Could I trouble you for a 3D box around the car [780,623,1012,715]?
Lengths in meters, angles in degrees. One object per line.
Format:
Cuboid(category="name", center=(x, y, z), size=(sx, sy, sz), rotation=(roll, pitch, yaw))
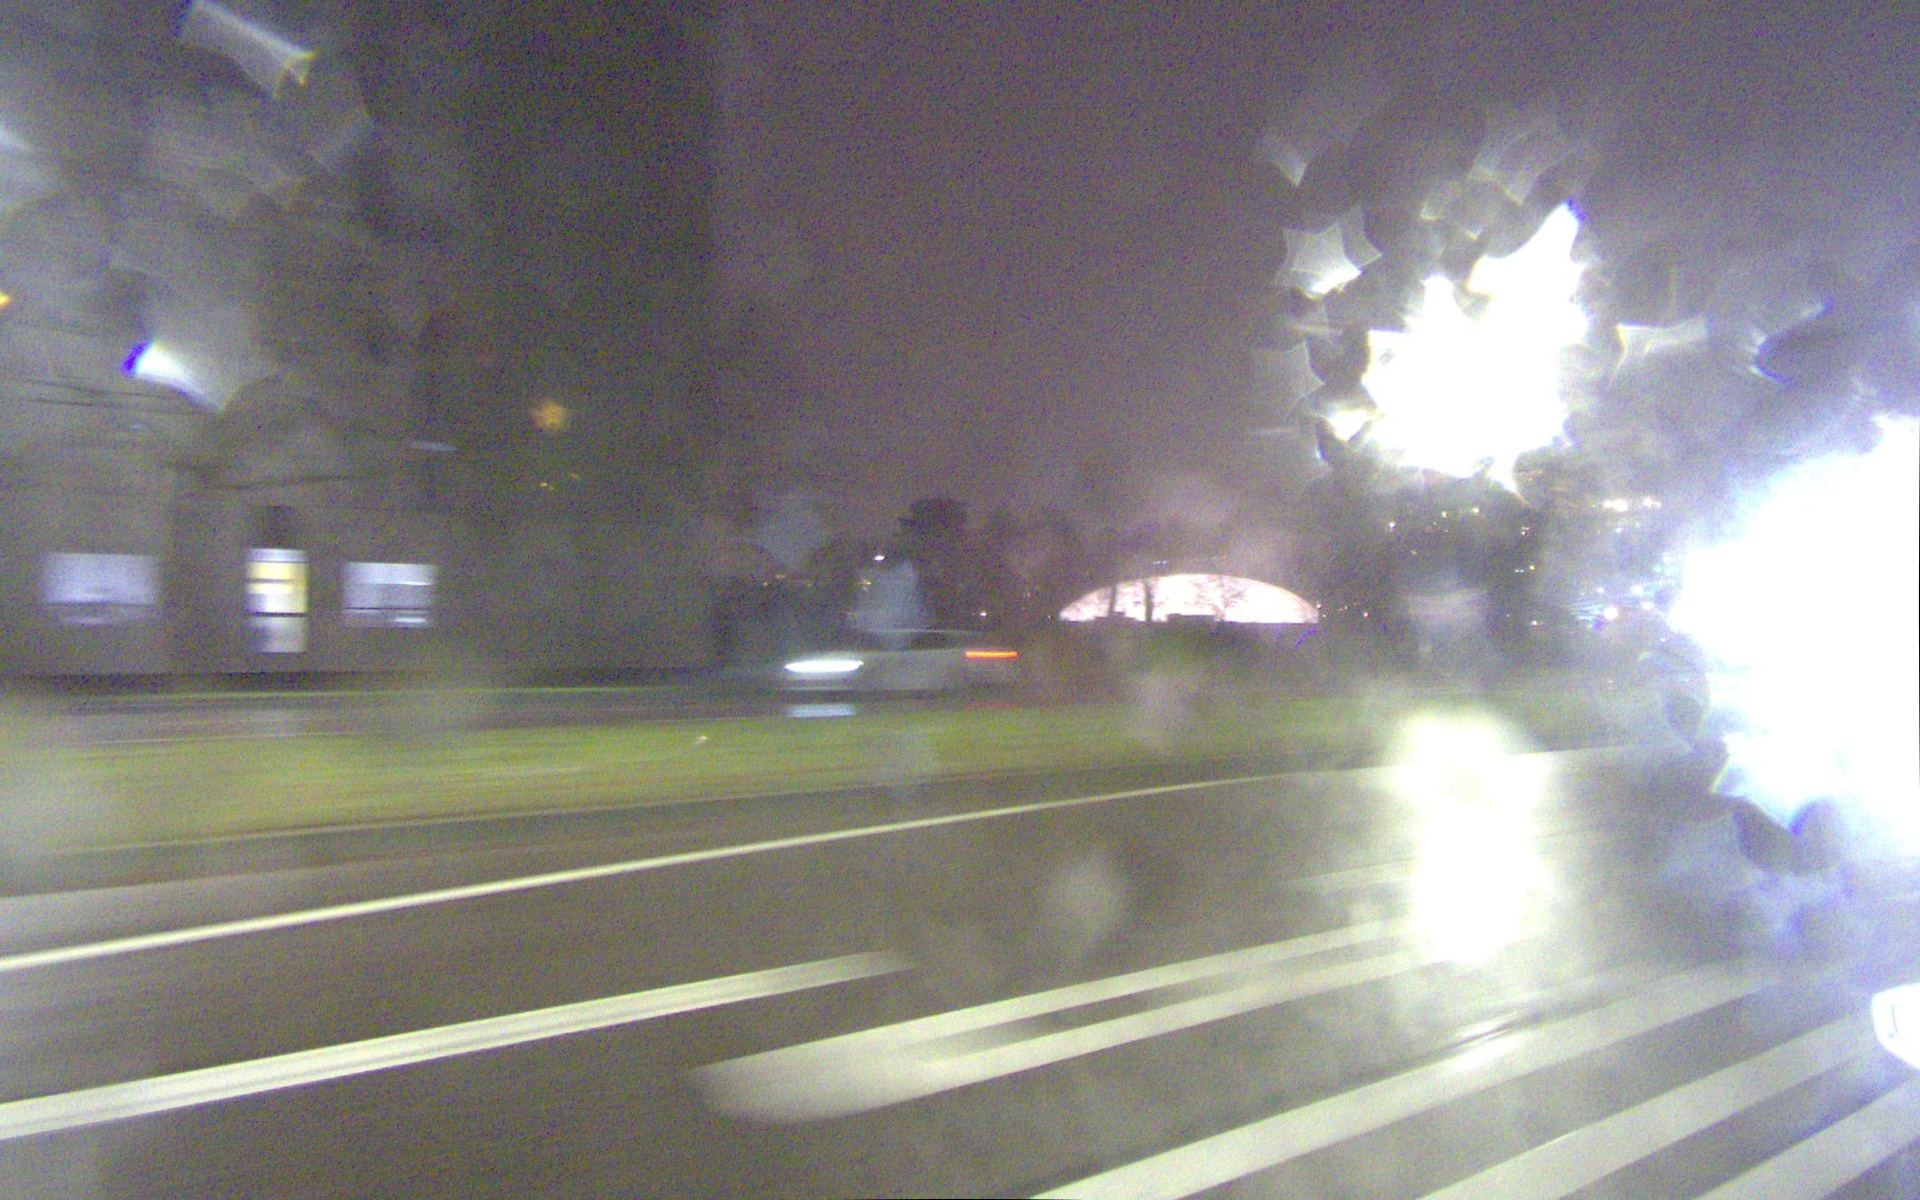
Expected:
Cuboid(category="car", center=(-1.329, 1.378, 21.290), size=(4.495, 1.706, 2.014), rotation=(1, 0, -31))
